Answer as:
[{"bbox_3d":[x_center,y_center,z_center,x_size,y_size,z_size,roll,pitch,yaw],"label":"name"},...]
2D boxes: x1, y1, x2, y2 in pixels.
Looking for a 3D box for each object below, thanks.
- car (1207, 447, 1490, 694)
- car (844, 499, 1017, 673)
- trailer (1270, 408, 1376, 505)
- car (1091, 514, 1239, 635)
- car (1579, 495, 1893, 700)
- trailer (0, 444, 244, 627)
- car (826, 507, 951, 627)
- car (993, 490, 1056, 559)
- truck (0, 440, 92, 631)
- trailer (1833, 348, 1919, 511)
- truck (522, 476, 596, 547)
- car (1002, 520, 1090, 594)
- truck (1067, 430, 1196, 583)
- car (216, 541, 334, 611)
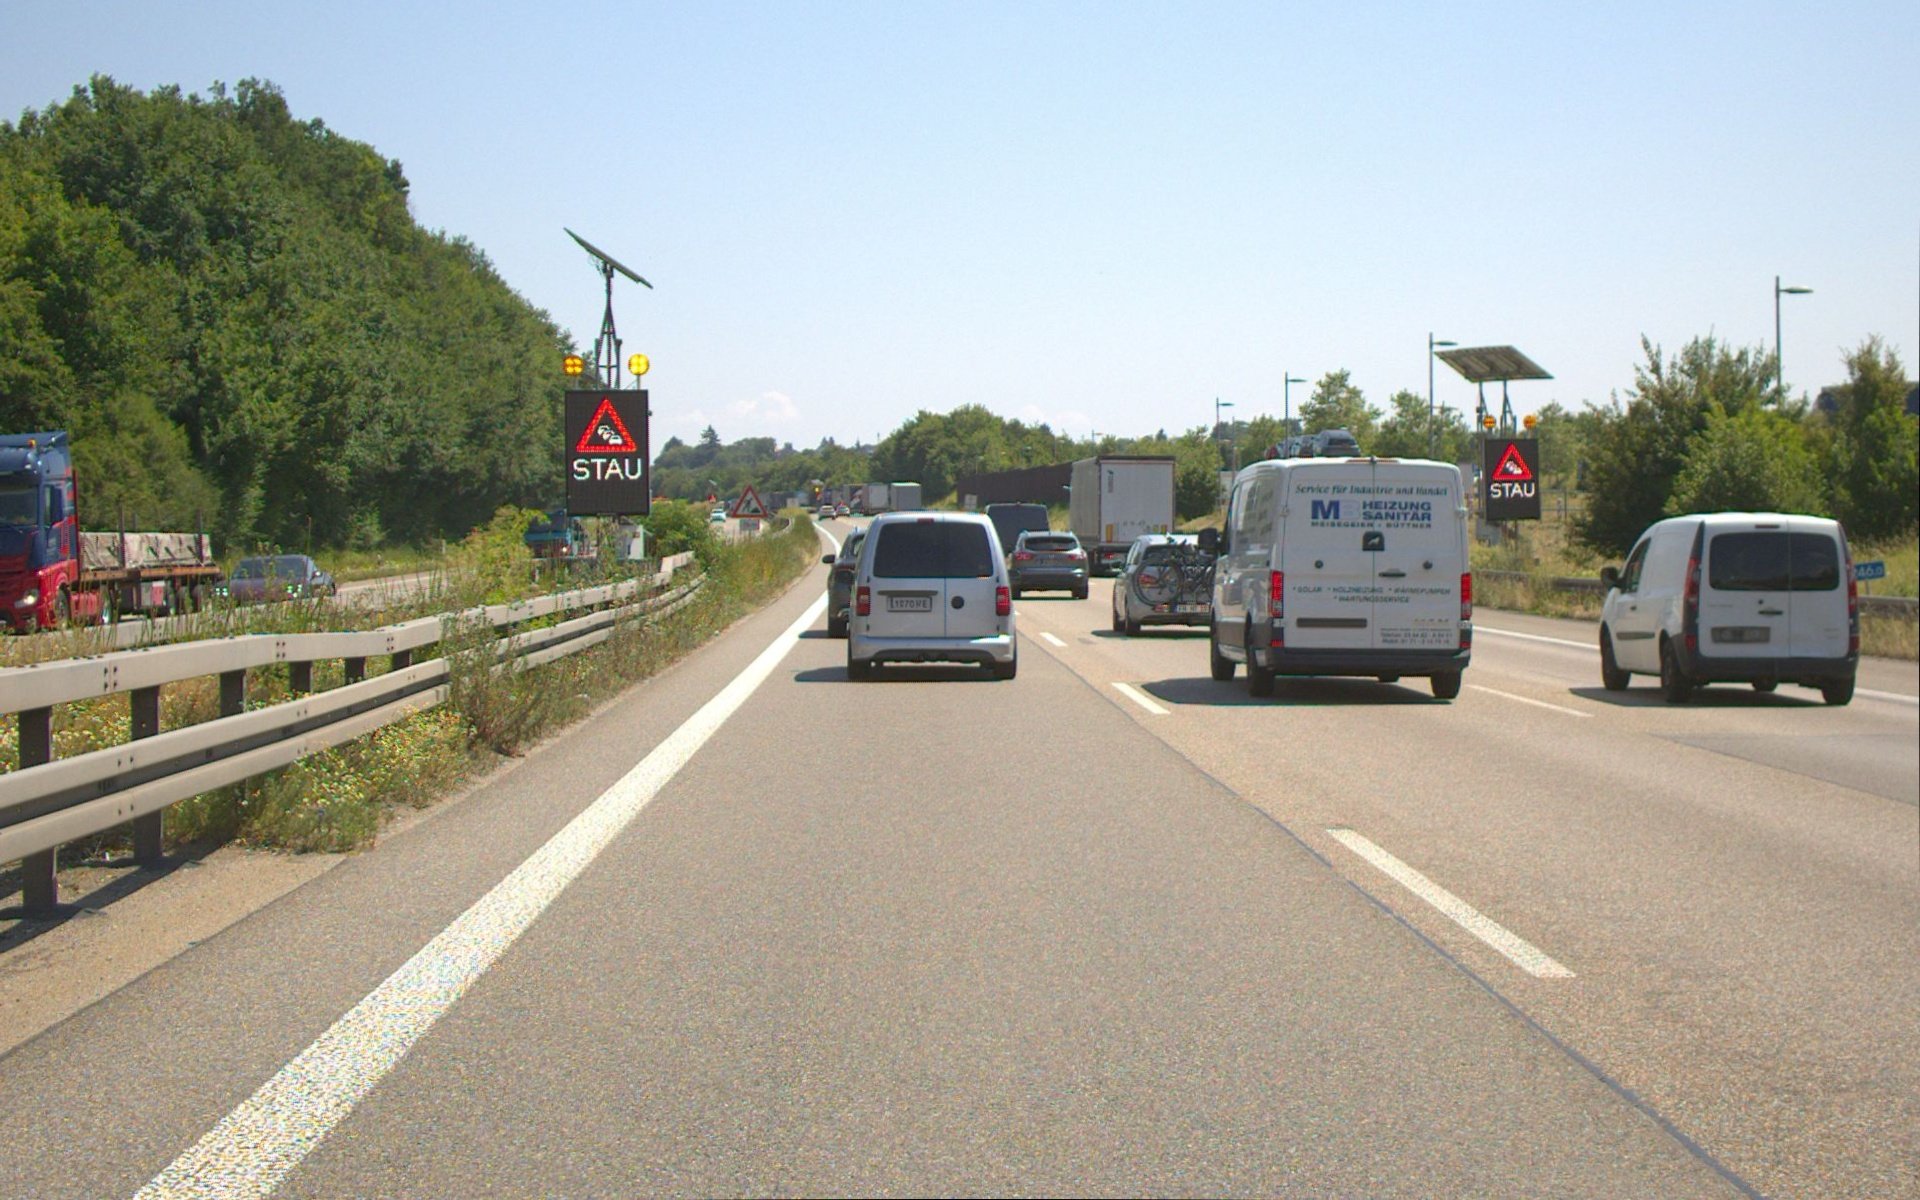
[{"bbox_3d":[3.748,-0.319,34.153,2.181,2.246,5.363,0,1,0],"label":"car"},{"bbox_3d":[-0.308,-0.185,37.322,1.745,1.758,4.089,-1,1,0],"label":"car"},{"bbox_3d":[17.546,-6.849,167.491,2.605,4.243,18.424,1,1,-2],"label":"trailer"},{"bbox_3d":[3.083,-0.414,52.459,1.976,1.727,4.089,-1,1,0],"label":"car"},{"bbox_3d":[7.466,-0.066,33.477,1.950,1.831,4.179,-1,1,-2],"label":"car"},{"bbox_3d":[-18.697,-1.425,75.231,2.996,3.546,16.025,-1,1,-1],"label":"trailer"},{"bbox_3d":[-1.034,-0.513,51.544,1.745,1.695,4.089,-1,1,0],"label":"car"},{"bbox_3d":[1.823,-2.144,98.127,1.674,1.885,4.089,-1,1,0],"label":"car"},{"bbox_3d":[-18.472,-1.219,65.682,2.996,3.546,3.118,-1,1,-1],"label":"truck"},{"bbox_3d":[26.106,-4.406,88.816,3.052,4.069,14.260,1,1,-2],"label":"trailer"},{"bbox_3d":[-21.954,-4.840,188.849,2.996,3.789,10.791,-1,1,-1],"label":"truck"},{"bbox_3d":[1.982,-1.020,80.284,1.902,1.666,4.089,-1,1,0],"label":"car"},{"bbox_3d":[5.843,-3.184,119.583,3.788,4.982,12.519,1,1,0],"label":"truck"},{"bbox_3d":[-14.208,-0.526,71.535,1.769,1.330,4.922,-2,1,-4],"label":"car"}]
